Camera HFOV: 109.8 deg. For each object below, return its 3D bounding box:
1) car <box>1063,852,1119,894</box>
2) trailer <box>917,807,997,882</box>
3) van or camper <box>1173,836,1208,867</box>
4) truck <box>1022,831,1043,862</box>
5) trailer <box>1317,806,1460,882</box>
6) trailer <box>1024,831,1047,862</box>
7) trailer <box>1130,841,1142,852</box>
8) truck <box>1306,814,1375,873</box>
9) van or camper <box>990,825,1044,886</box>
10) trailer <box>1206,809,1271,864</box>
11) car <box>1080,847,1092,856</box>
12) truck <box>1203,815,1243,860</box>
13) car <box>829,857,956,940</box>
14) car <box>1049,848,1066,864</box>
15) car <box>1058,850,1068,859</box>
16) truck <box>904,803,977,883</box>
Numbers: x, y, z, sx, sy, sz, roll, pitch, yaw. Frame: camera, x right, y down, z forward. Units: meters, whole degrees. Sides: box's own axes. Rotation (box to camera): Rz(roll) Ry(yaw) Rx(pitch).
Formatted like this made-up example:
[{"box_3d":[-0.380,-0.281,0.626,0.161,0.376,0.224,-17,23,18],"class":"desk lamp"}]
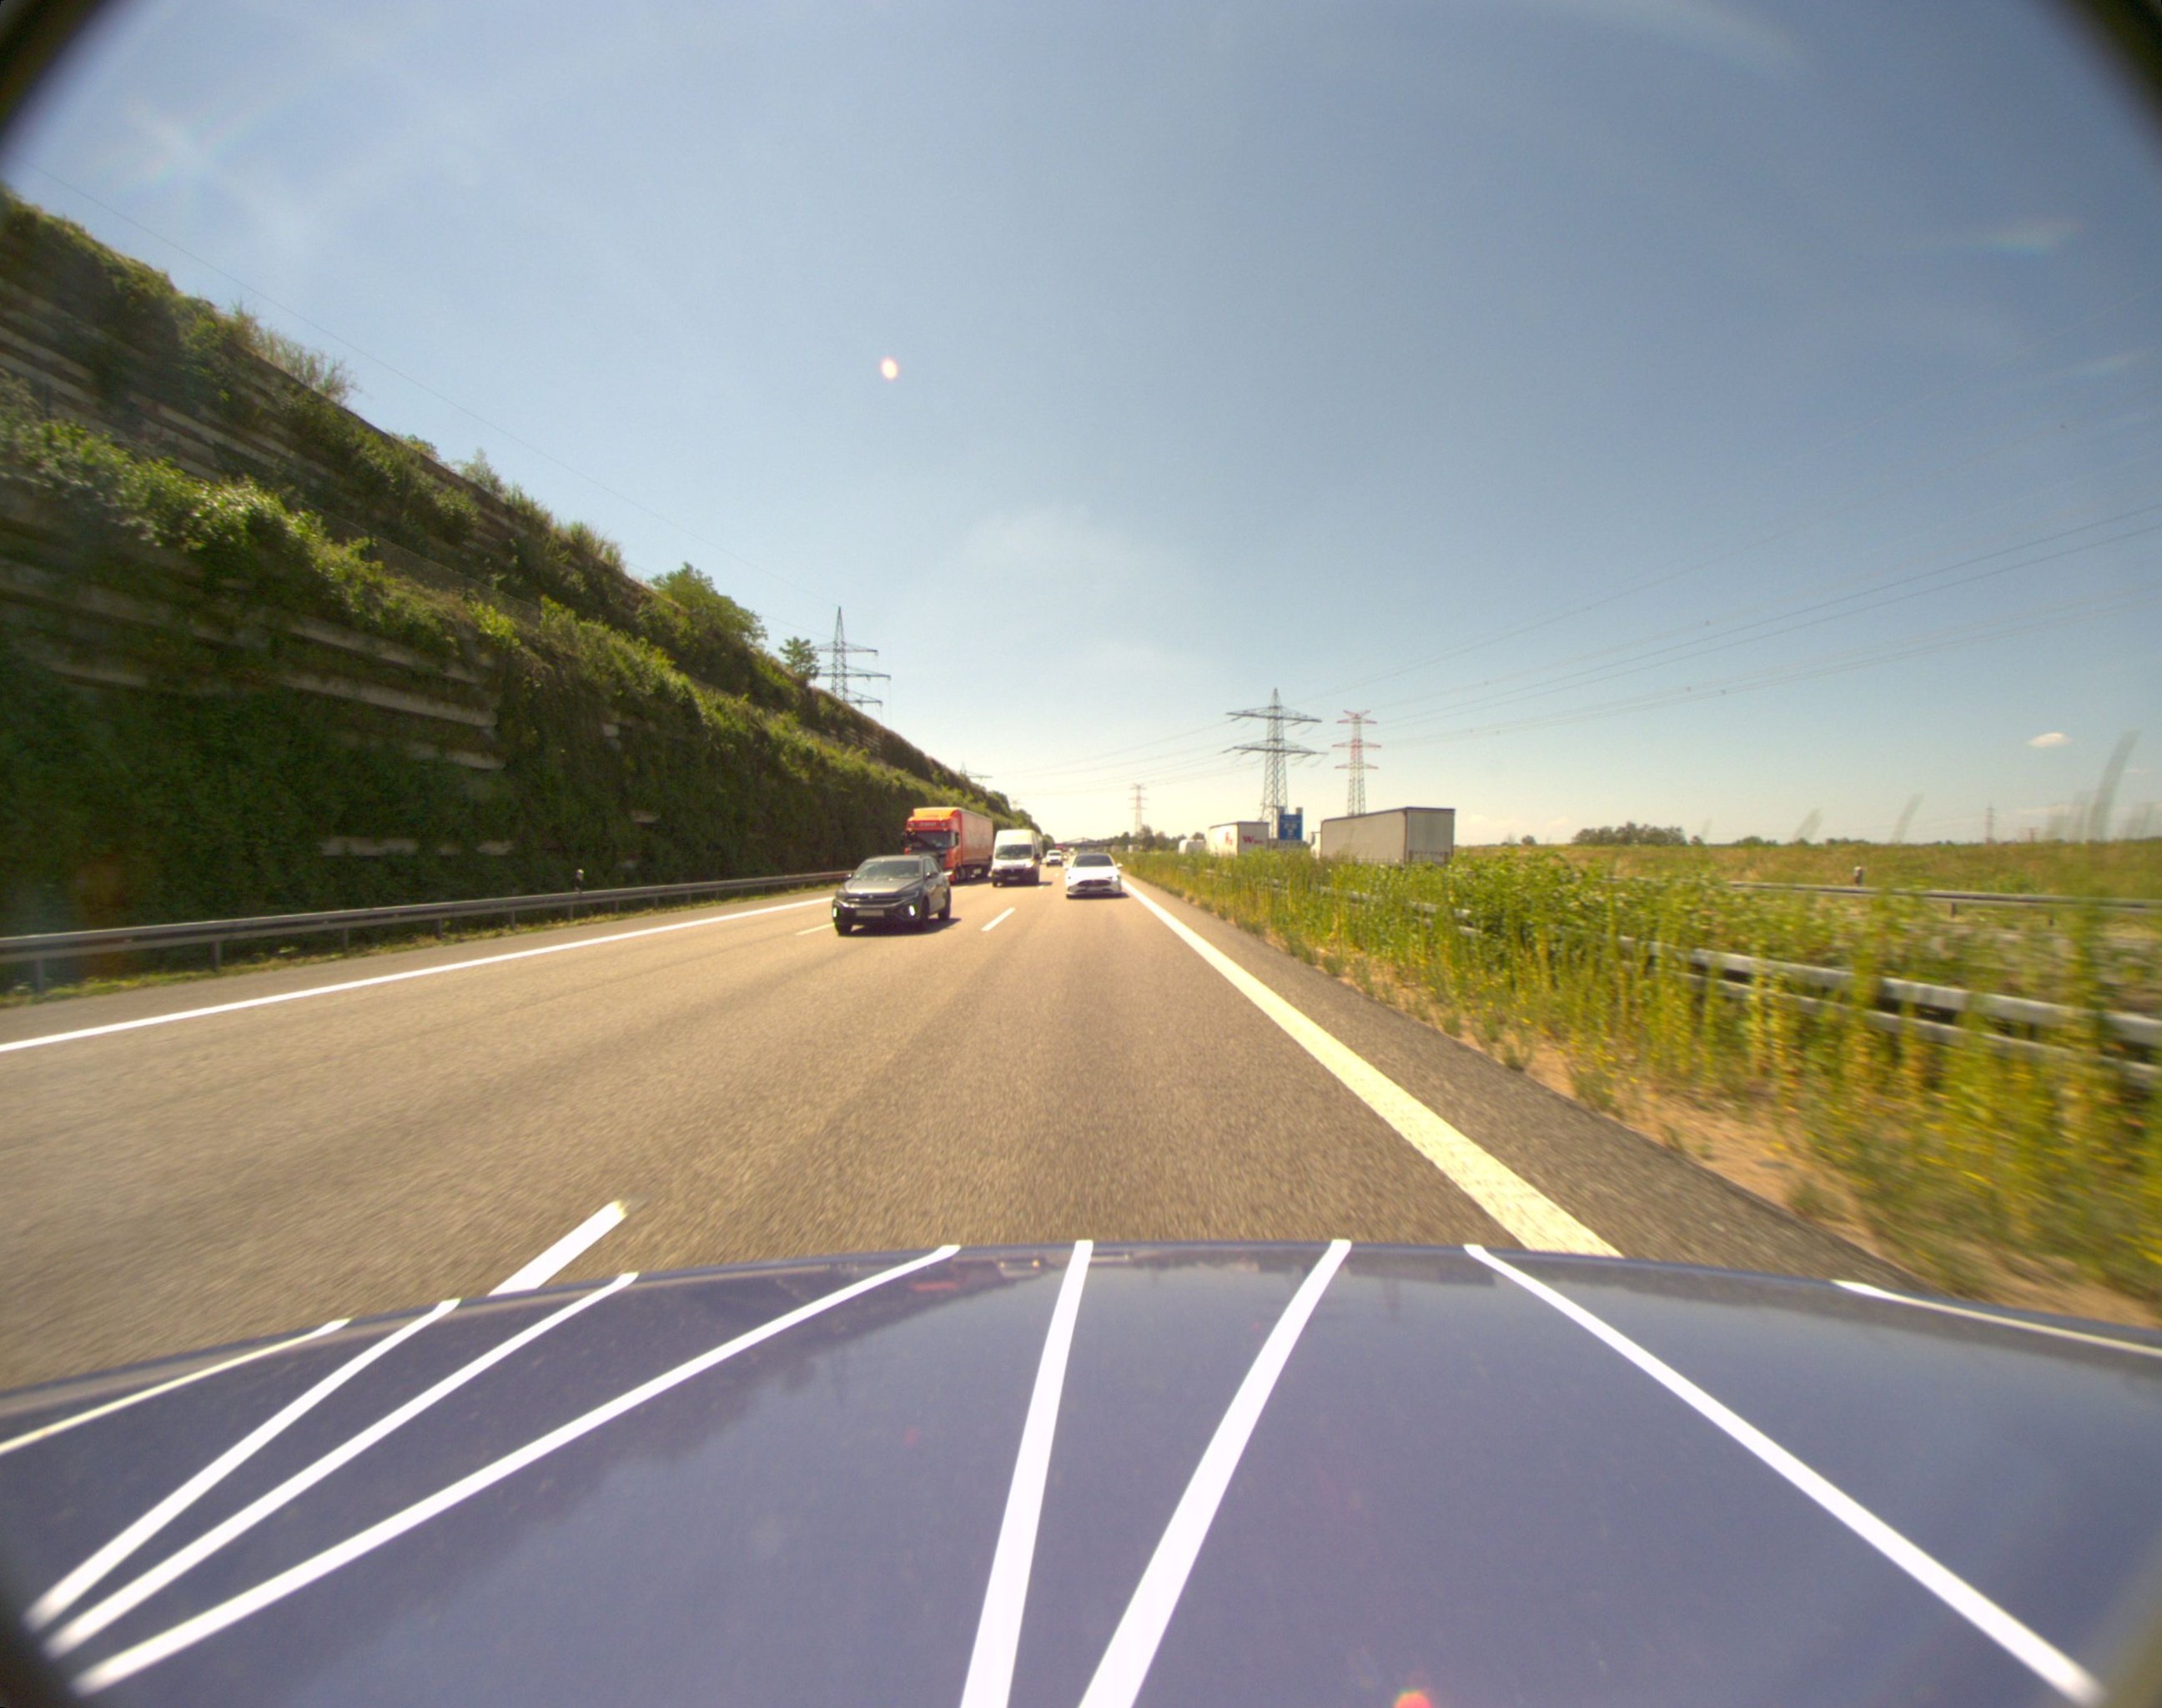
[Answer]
[{"box_3d":[0.352,0.681,29.722,1.999,1.474,4.107,-1,0,-1],"class":"car"},{"box_3d":[-7.415,-0.534,47.793,2.652,3.982,13.604,-1,0,0],"class":"trailer"},{"box_3d":[9.843,-0.245,68.769,1.999,2.567,6.284,4,1,0],"class":"van or camper"},{"box_3d":[-6.717,-1.010,106.364,2.514,4.196,6.255,-1,1,0],"class":"truck"},{"box_3d":[17.805,-0.568,45.666,2.776,3.807,14.237,-1,1,0],"class":"trailer"},{"box_3d":[-6.769,-1.060,114.302,2.521,4.187,17.025,-1,0,0],"class":"trailer"},{"box_3d":[18.868,-2.484,261.221,2.861,3.800,15.976,0,0,0],"class":"trailer"},{"box_3d":[17.762,-0.705,52.353,2.783,3.831,5.569,-1,1,0],"class":"truck"},{"box_3d":[-3.089,0.054,38.122,2.102,2.753,6.756,-1,0,0],"class":"van or camper"},{"box_3d":[13.742,-1.472,67.905,2.776,4.324,14.238,-1,1,0],"class":"trailer"},{"box_3d":[0.826,-0.356,124.205,1.784,1.475,3.999,0,0,-1],"class":"car"},{"box_3d":[13.774,-1.544,74.174,2.812,4.134,5.569,-1,1,0],"class":"truck"},{"box_3d":[-3.944,0.868,16.577,1.753,1.516,3.995,-1,1,0],"class":"car"},{"box_3d":[-2.582,0.219,85.784,1.784,1.783,3.999,-1,0,0],"class":"car"},{"box_3d":[-3.198,0.092,135.503,1.784,1.475,3.999,-1,0,-1],"class":"car"},{"box_3d":[-7.433,-0.579,41.138,2.624,3.969,6.525,-1,1,0],"class":"truck"}]
